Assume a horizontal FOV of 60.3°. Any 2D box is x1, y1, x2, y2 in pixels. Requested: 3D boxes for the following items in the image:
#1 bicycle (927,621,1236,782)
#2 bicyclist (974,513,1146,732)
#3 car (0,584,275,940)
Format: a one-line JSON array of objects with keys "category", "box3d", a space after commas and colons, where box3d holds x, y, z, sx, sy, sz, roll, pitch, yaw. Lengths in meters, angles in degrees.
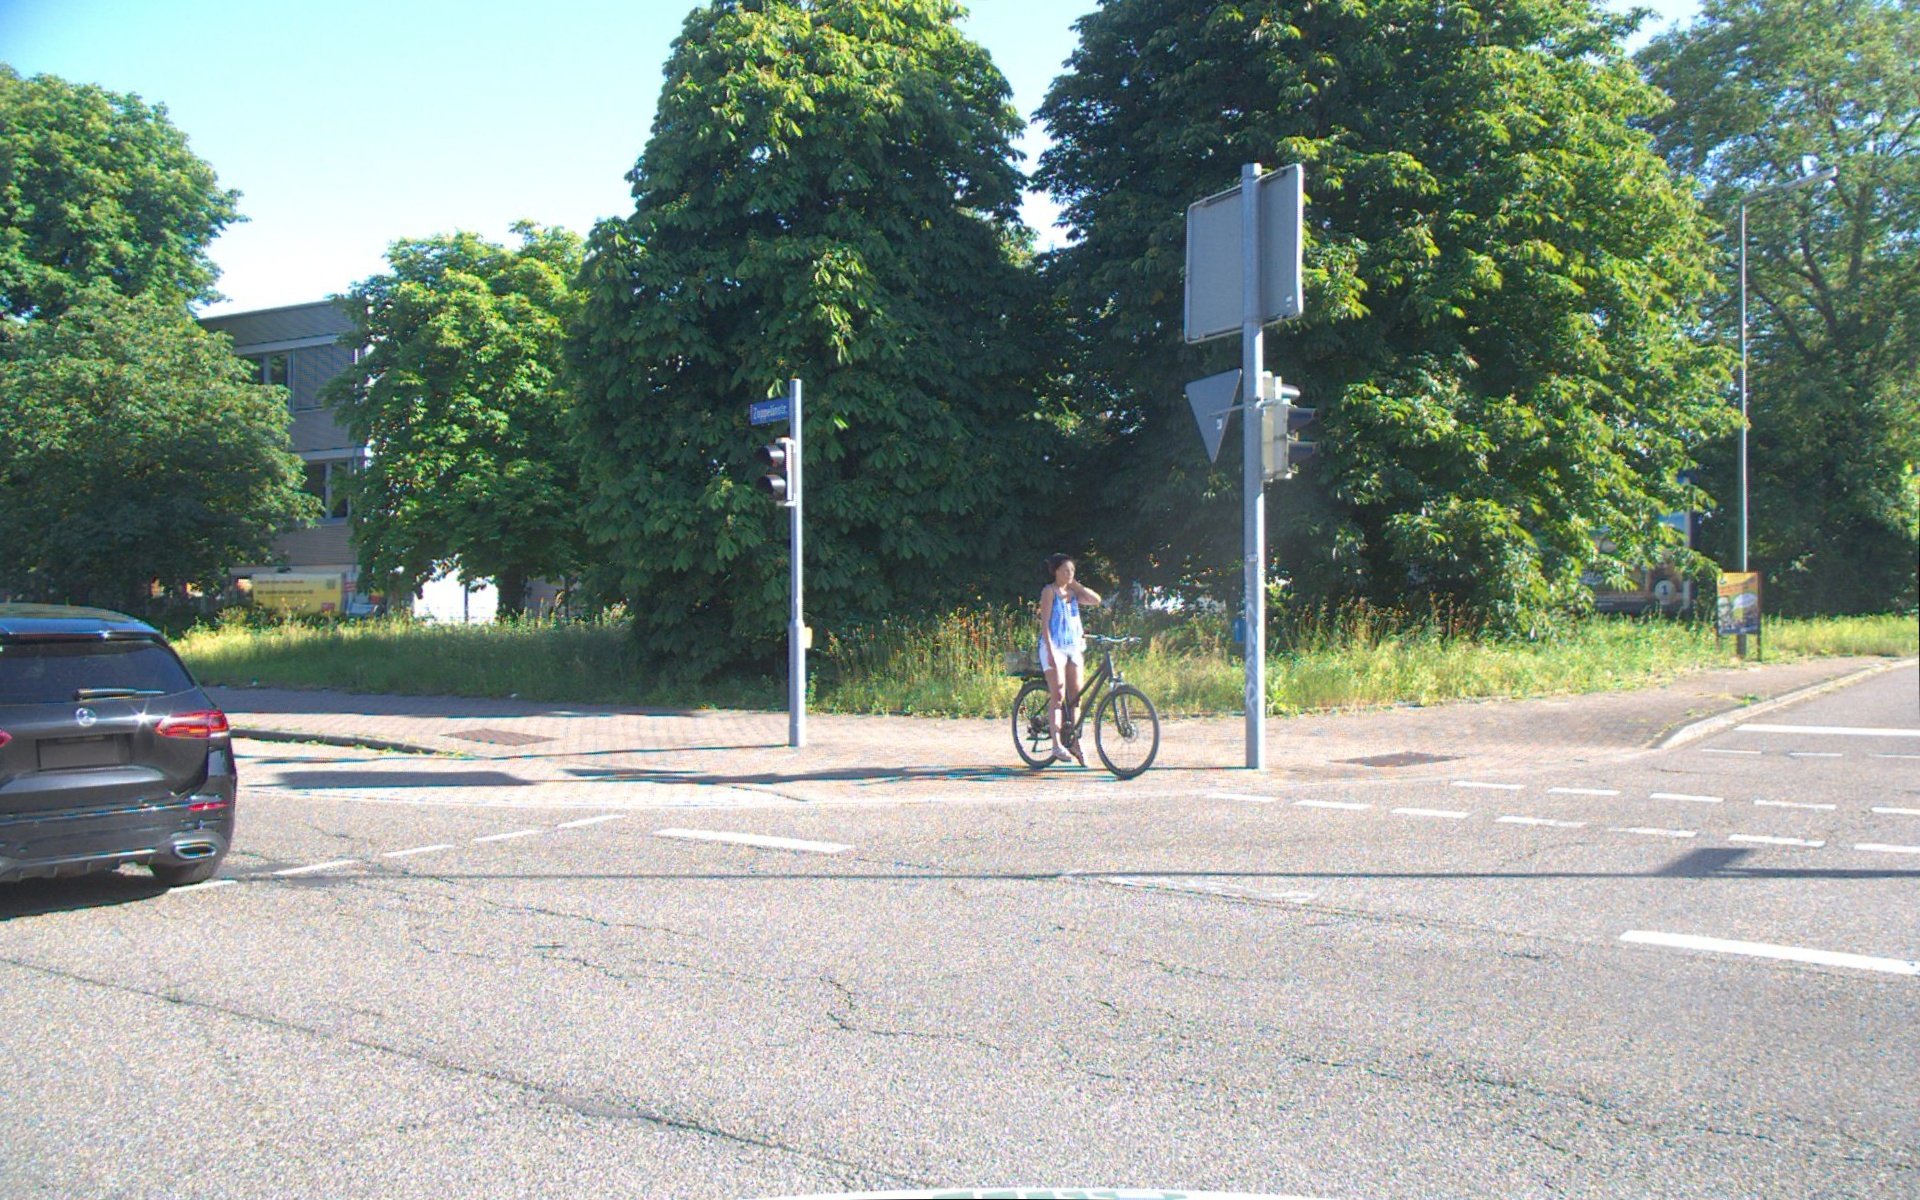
[{"category": "bicycle", "box3d": [0.914, 0.767, 13.601, 0.893, 1.145, 2.916, 1, 0, -35]}, {"category": "bicyclist", "box3d": [0.818, 0.179, 13.756, 0.882, 1.722, 1.175, 1, -1, -36]}, {"category": "car", "box3d": [-5.587, 0.754, 9.131, 3.915, 1.620, 1.766, -1, -1, 40]}]
